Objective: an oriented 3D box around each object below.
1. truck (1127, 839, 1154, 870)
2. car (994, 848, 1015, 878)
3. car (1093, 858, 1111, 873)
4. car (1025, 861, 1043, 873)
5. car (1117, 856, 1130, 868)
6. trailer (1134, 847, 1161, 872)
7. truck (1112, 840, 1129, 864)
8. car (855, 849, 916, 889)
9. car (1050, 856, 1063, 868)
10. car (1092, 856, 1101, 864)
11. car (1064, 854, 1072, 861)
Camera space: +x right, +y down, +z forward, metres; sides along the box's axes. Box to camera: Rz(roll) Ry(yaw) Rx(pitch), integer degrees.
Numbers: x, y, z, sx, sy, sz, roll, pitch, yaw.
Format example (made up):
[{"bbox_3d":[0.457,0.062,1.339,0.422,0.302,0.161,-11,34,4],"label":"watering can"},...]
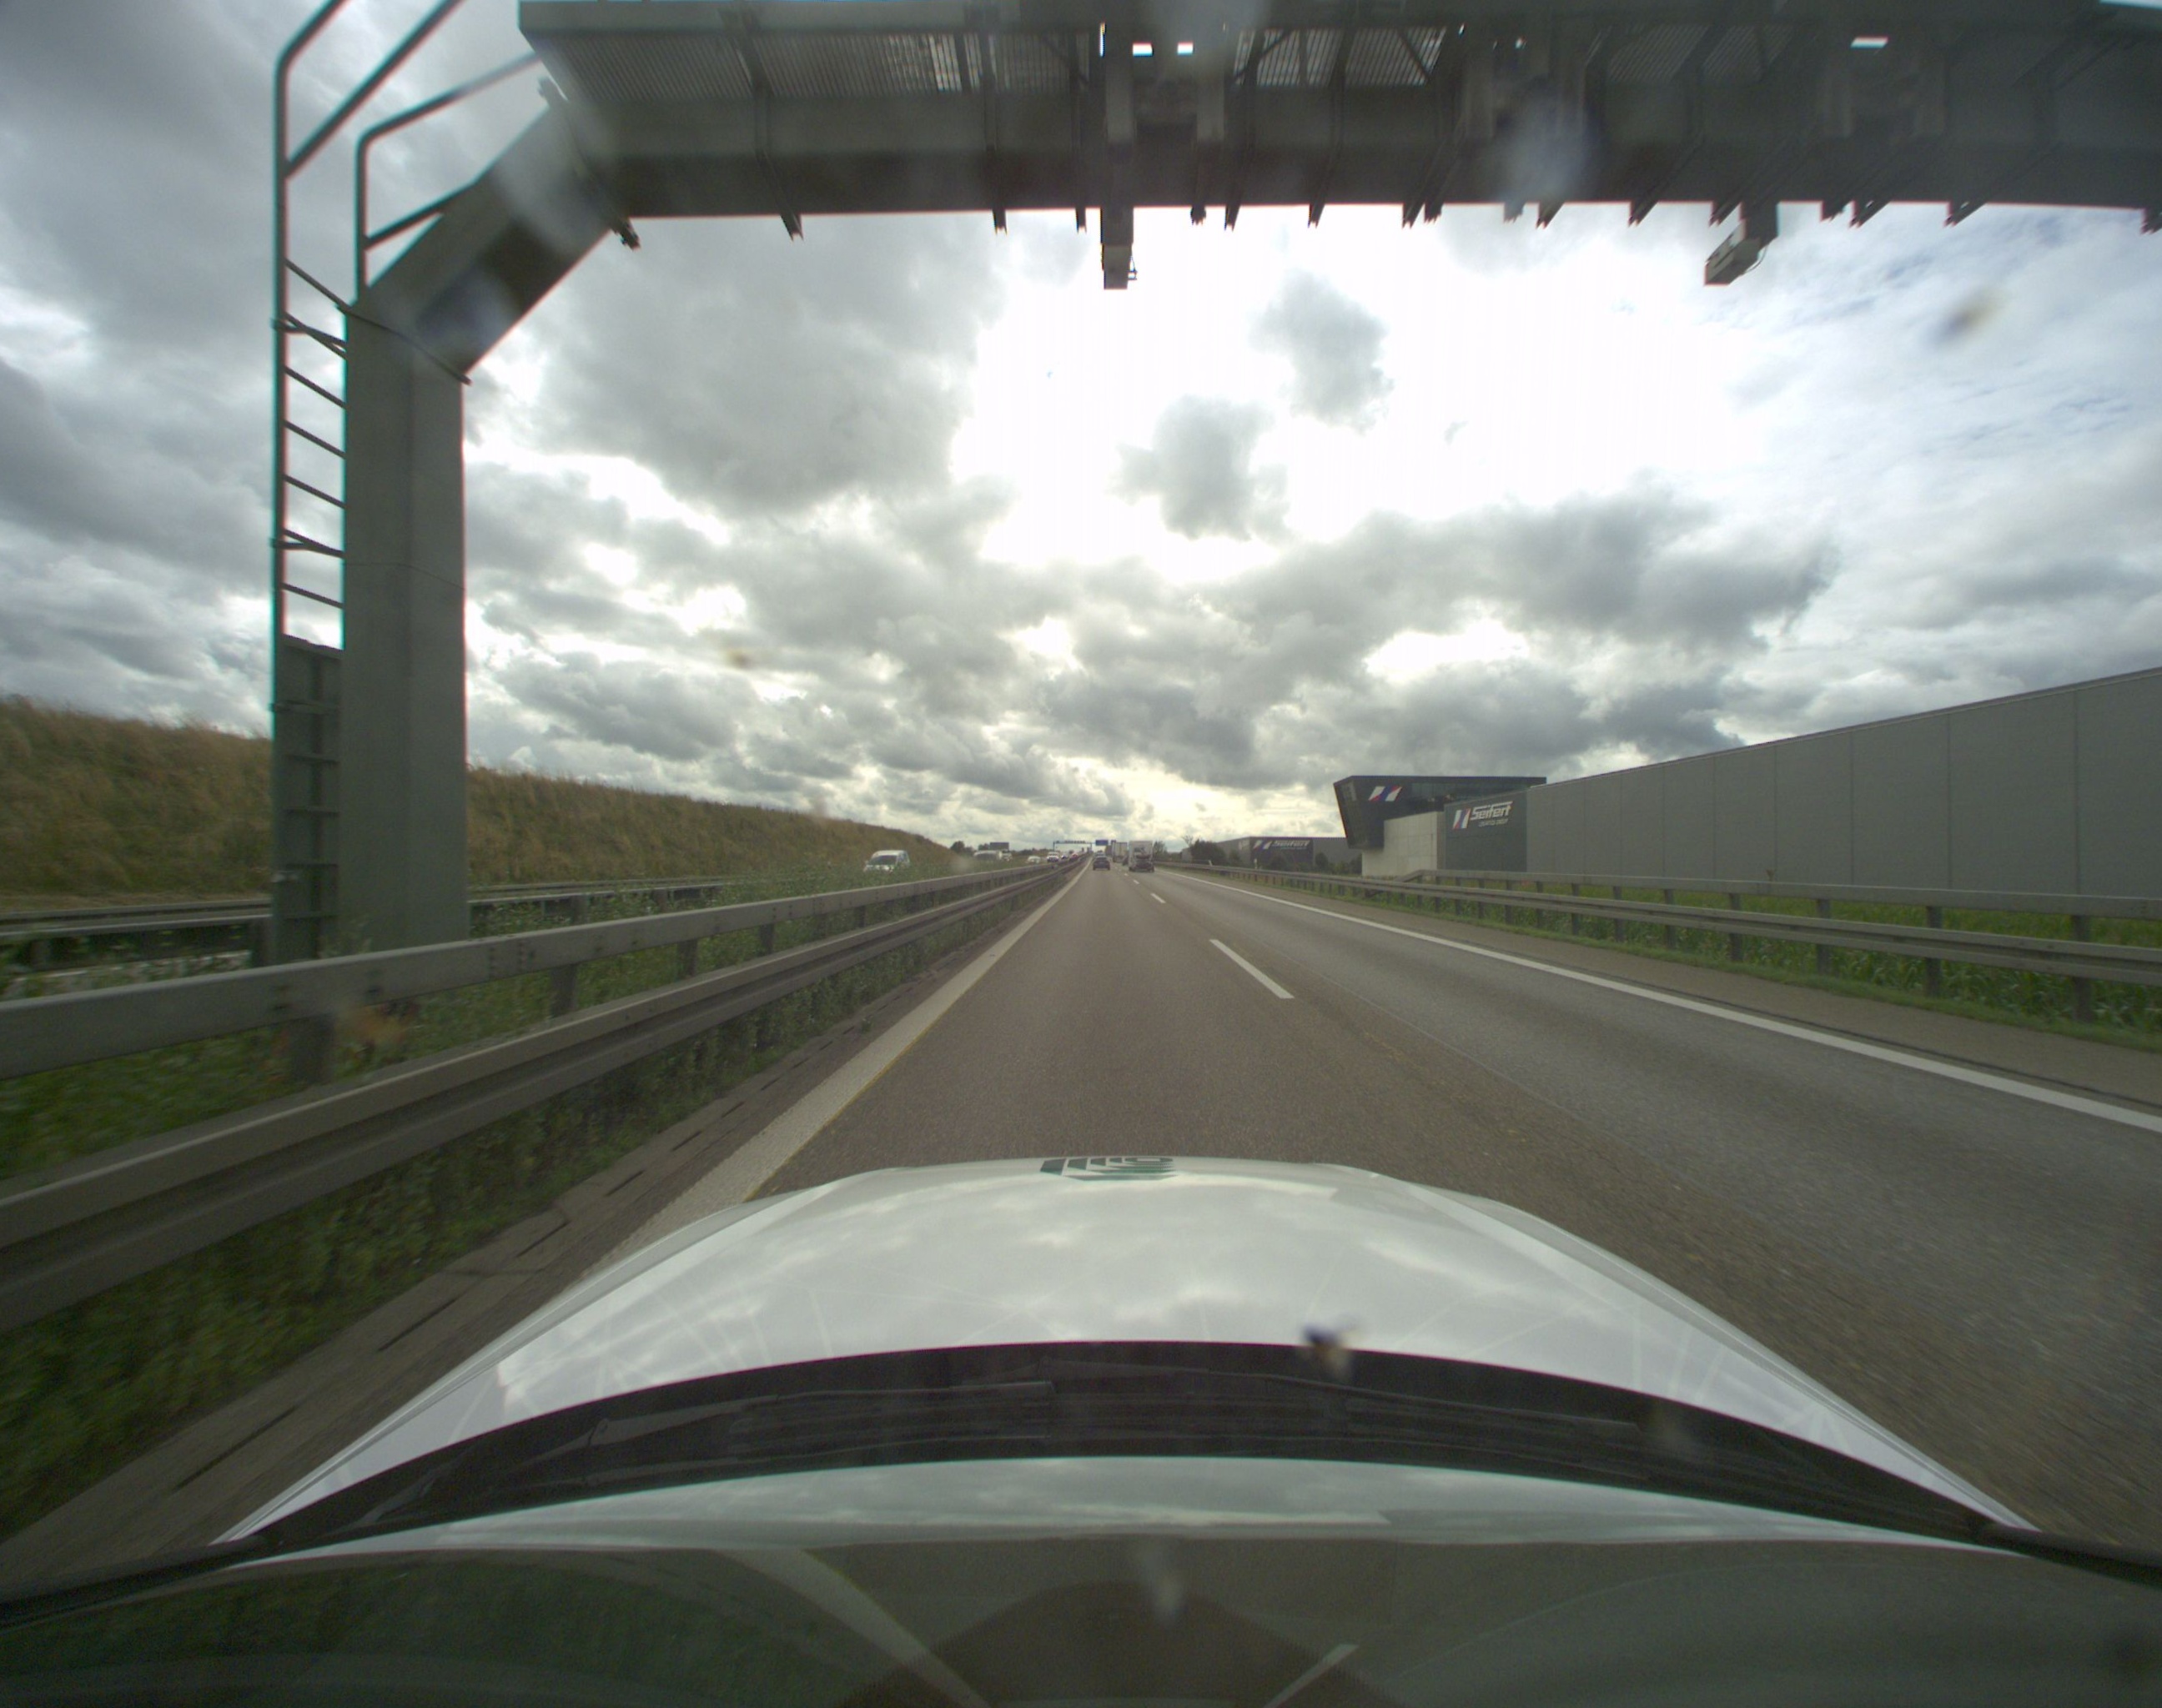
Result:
[{"bbox_3d":[5.828,0.055,80.180,2.473,2.950,5.816,0,-1,2],"label":"truck"},{"bbox_3d":[-9.619,1.114,103.113,1.988,3.664,5.118,0,-1,2],"label":"car"},{"bbox_3d":[2.182,1.213,85.129,1.739,1.453,4.004,0,-1,4],"label":"car"},{"bbox_3d":[-5.560,1.581,97.291,1.804,1.402,4.407,0,-1,2],"label":"car"},{"bbox_3d":[6.192,1.220,118.488,1.794,1.685,4.001,0,-1,1],"label":"car"},{"bbox_3d":[5.942,0.499,72.935,2.328,2.136,4.004,0,-1,4],"label":"trailer"},{"bbox_3d":[7.856,-0.391,162.239,3.327,4.534,8.019,0,-1,2],"label":"truck"},{"bbox_3d":[-10.424,0.779,43.821,1.986,2.013,4.709,0,0,2],"label":"car"},{"bbox_3d":[-4.024,1.347,136.433,1.821,1.885,5.420,0,-1,2],"label":"car"},{"bbox_3d":[3.560,1.400,188.872,1.935,1.775,3.699,0,-1,3],"label":"car"},{"bbox_3d":[-3.120,0.779,193.937,1.834,1.576,4.001,0,-1,1],"label":"car"}]
